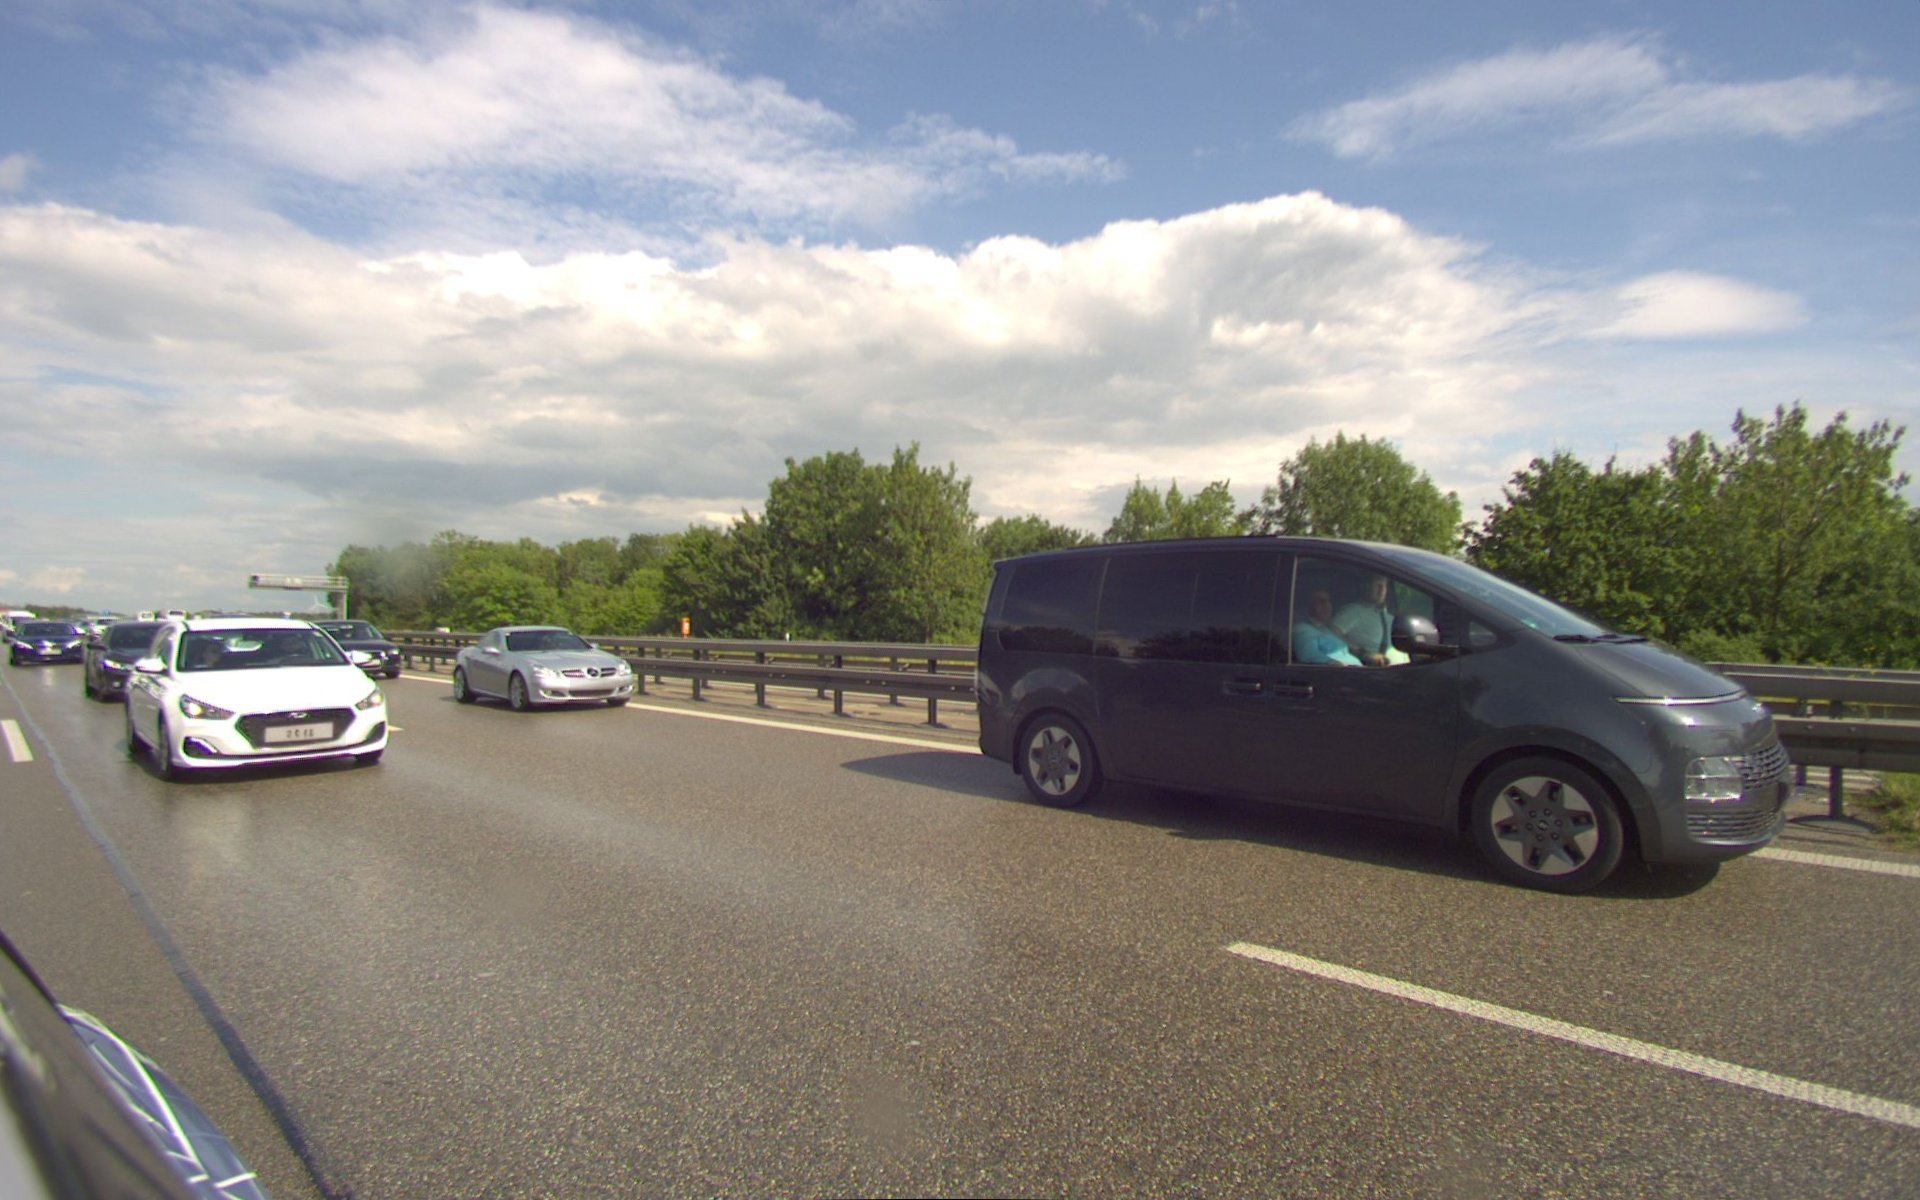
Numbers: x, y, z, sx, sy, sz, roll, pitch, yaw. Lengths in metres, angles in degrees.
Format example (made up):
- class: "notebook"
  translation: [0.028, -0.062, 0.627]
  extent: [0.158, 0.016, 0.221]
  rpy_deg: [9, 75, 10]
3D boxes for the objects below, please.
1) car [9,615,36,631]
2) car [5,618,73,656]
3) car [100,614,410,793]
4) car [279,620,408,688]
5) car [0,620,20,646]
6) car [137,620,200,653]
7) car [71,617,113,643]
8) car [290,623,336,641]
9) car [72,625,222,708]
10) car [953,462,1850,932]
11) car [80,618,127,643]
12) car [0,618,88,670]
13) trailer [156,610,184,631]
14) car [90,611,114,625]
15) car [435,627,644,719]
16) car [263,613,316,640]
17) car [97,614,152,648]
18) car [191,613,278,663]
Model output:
- class: "car"
  translation: [-105.643, 2.553, 114.059]
  extent: [4.001, 1.710, 1.971]
  rpy_deg: [0, 1, 44]
- class: "car"
  translation: [-41.256, 1.622, 45.305]
  extent: [4.001, 1.490, 1.971]
  rpy_deg: [0, 1, 44]
- class: "car"
  translation: [-7.518, 0.895, 10.594]
  extent: [4.550, 1.466, 1.860]
  rpy_deg: [-1, -1, 44]
- class: "car"
  translation: [-14.720, 1.214, 24.070]
  extent: [1.746, 1.436, 4.141]
  rpy_deg: [-1, 0, -44]
- class: "car"
  translation: [-60.797, 2.085, 63.865]
  extent: [4.001, 1.490, 1.971]
  rpy_deg: [0, 1, 44]
- class: "car"
  translation: [-36.138, 1.629, 46.188]
  extent: [4.001, 1.389, 1.747]
  rpy_deg: [0, -1, 44]
- class: "car"
  translation: [-63.432, 2.175, 73.959]
  extent: [4.001, 1.710, 1.971]
  rpy_deg: [0, 1, 44]
- class: "car"
  translation: [-55.646, 2.750, 87.006]
  extent: [5.036, 1.498, 2.094]
  rpy_deg: [-1, -1, 42]
- class: "car"
  translation: [-15.292, 1.160, 18.951]
  extent: [4.289, 1.348, 1.705]
  rpy_deg: [-1, -1, 44]
- class: "car"
  translation: [2.509, 0.463, 6.929]
  extent: [5.271, 2.029, 1.971]
  rpy_deg: [-1, -1, 44]
- class: "car"
  translation: [-56.191, 1.975, 66.366]
  extent: [4.001, 1.490, 1.971]
  rpy_deg: [0, 1, 44]
- class: "car"
  translation: [-30.328, 1.397, 33.429]
  extent: [4.001, 1.497, 1.971]
  rpy_deg: [0, 1, 44]
- class: "trailer"
  translation: [-132.663, 3.423, 169.892]
  extent: [2.698, 3.407, 9.568]
  rpy_deg: [1, -1, -44]
- class: "car"
  translation: [-106.071, 2.221, 125.099]
  extent: [4.463, 1.792, 1.971]
  rpy_deg: [-1, -1, 45]
- class: "car"
  translation: [-6.919, 1.091, 16.439]
  extent: [4.065, 1.288, 1.705]
  rpy_deg: [-1, -1, 44]
- class: "car"
  translation: [-45.222, 1.782, 68.209]
  extent: [4.153, 1.719, 1.972]
  rpy_deg: [-1, -1, 42]
- class: "car"
  translation: [-47.394, 1.747, 57.368]
  extent: [4.001, 1.761, 1.971]
  rpy_deg: [0, 1, 44]
- class: "car"
  translation: [-25.262, 1.287, 35.199]
  extent: [1.849, 1.618, 4.231]
  rpy_deg: [0, -1, -44]
